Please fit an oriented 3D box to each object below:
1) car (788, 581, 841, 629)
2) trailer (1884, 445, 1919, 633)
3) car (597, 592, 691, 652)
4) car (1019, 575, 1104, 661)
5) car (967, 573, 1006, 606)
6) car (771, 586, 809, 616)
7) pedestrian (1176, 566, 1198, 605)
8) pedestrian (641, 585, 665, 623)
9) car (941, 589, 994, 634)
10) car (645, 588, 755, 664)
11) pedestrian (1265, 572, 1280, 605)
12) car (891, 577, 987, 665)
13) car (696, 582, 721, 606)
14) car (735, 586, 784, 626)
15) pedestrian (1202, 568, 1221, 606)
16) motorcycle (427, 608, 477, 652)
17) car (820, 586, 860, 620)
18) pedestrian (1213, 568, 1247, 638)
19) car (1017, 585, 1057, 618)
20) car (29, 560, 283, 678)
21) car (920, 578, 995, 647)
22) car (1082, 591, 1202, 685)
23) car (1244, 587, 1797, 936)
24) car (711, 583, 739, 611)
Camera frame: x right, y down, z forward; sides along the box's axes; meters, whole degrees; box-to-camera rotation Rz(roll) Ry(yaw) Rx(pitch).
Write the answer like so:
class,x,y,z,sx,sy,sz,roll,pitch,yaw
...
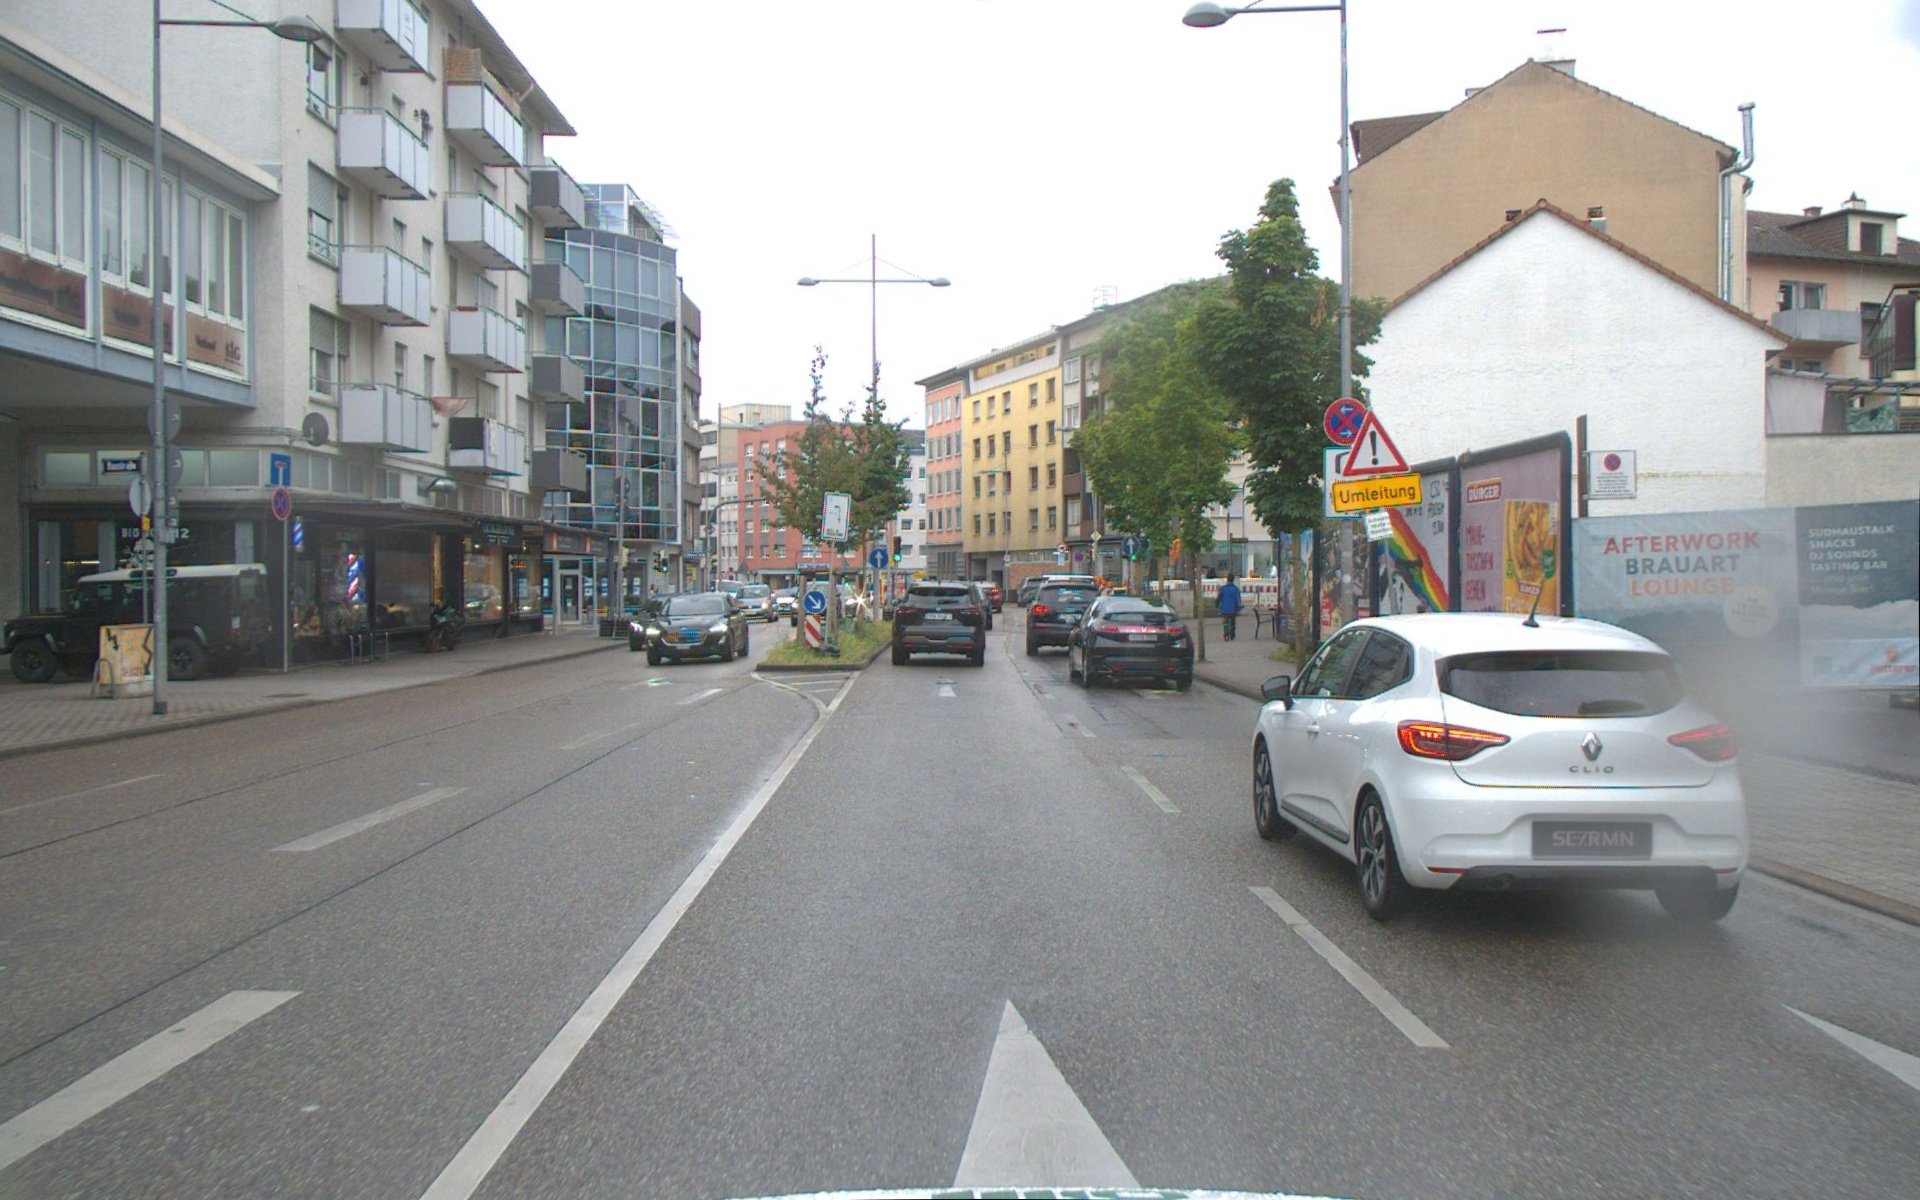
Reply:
class,x,y,z,sx,sy,sz,roll,pitch,yaw
car,-5.519,0.171,63.107,1.649,1.690,4.096,-2,0,0
trailer,15.132,-0.907,22.527,2.083,2.763,5.392,-3,1,1
car,-8.839,0.567,46.605,1.673,1.493,4.829,-3,0,0
car,2.337,0.372,38.847,1.792,1.837,3.719,1,1,1
car,1.184,-0.468,75.254,1.608,1.405,3.347,-2,0,-2
car,-8.598,0.036,83.878,1.599,1.432,3.437,-3,0,-1
pedestrian,12.297,-0.777,89.575,0.809,2.048,0.835,1,1,-19
pedestrian,-13.648,0.179,73.524,0.775,1.618,0.753,-2,0,-37
car,0.227,0.366,55.951,1.608,1.405,3.347,-2,0,-2
car,-5.533,0.505,35.608,1.685,1.448,4.165,-3,0,-1
pedestrian,17.284,-0.625,91.512,0.523,1.800,0.616,1,1,-31
car,-0.394,0.378,33.049,1.786,1.628,3.718,1,0,0
car,-16.486,-0.406,108.532,1.429,1.455,3.360,1,1,-12
car,-8.530,0.233,70.572,1.599,1.619,3.936,-3,0,-1
pedestrian,13.551,-0.708,89.066,0.805,2.048,0.839,2,1,22
motorcycle,-12.373,0.722,40.361,0.515,1.013,2.136,1,0,1
car,-5.436,0.113,75.335,1.501,1.437,3.936,-3,0,-1
pedestrian,7.014,0.069,42.937,0.774,1.786,0.872,-2,0,12
car,4.134,0.080,89.389,1.674,1.639,3.725,2,1,-5
car,-14.730,0.338,30.407,3.880,2.070,1.581,-1,0,2
car,-0.053,0.280,41.941,1.786,1.628,3.718,1,0,0
car,2.952,0.582,27.417,1.749,1.424,3.720,1,0,3
car,2.759,0.681,9.082,1.631,1.420,3.866,0,2,-2
car,-13.692,-0.166,96.299,1.521,1.598,3.340,2,0,-10
